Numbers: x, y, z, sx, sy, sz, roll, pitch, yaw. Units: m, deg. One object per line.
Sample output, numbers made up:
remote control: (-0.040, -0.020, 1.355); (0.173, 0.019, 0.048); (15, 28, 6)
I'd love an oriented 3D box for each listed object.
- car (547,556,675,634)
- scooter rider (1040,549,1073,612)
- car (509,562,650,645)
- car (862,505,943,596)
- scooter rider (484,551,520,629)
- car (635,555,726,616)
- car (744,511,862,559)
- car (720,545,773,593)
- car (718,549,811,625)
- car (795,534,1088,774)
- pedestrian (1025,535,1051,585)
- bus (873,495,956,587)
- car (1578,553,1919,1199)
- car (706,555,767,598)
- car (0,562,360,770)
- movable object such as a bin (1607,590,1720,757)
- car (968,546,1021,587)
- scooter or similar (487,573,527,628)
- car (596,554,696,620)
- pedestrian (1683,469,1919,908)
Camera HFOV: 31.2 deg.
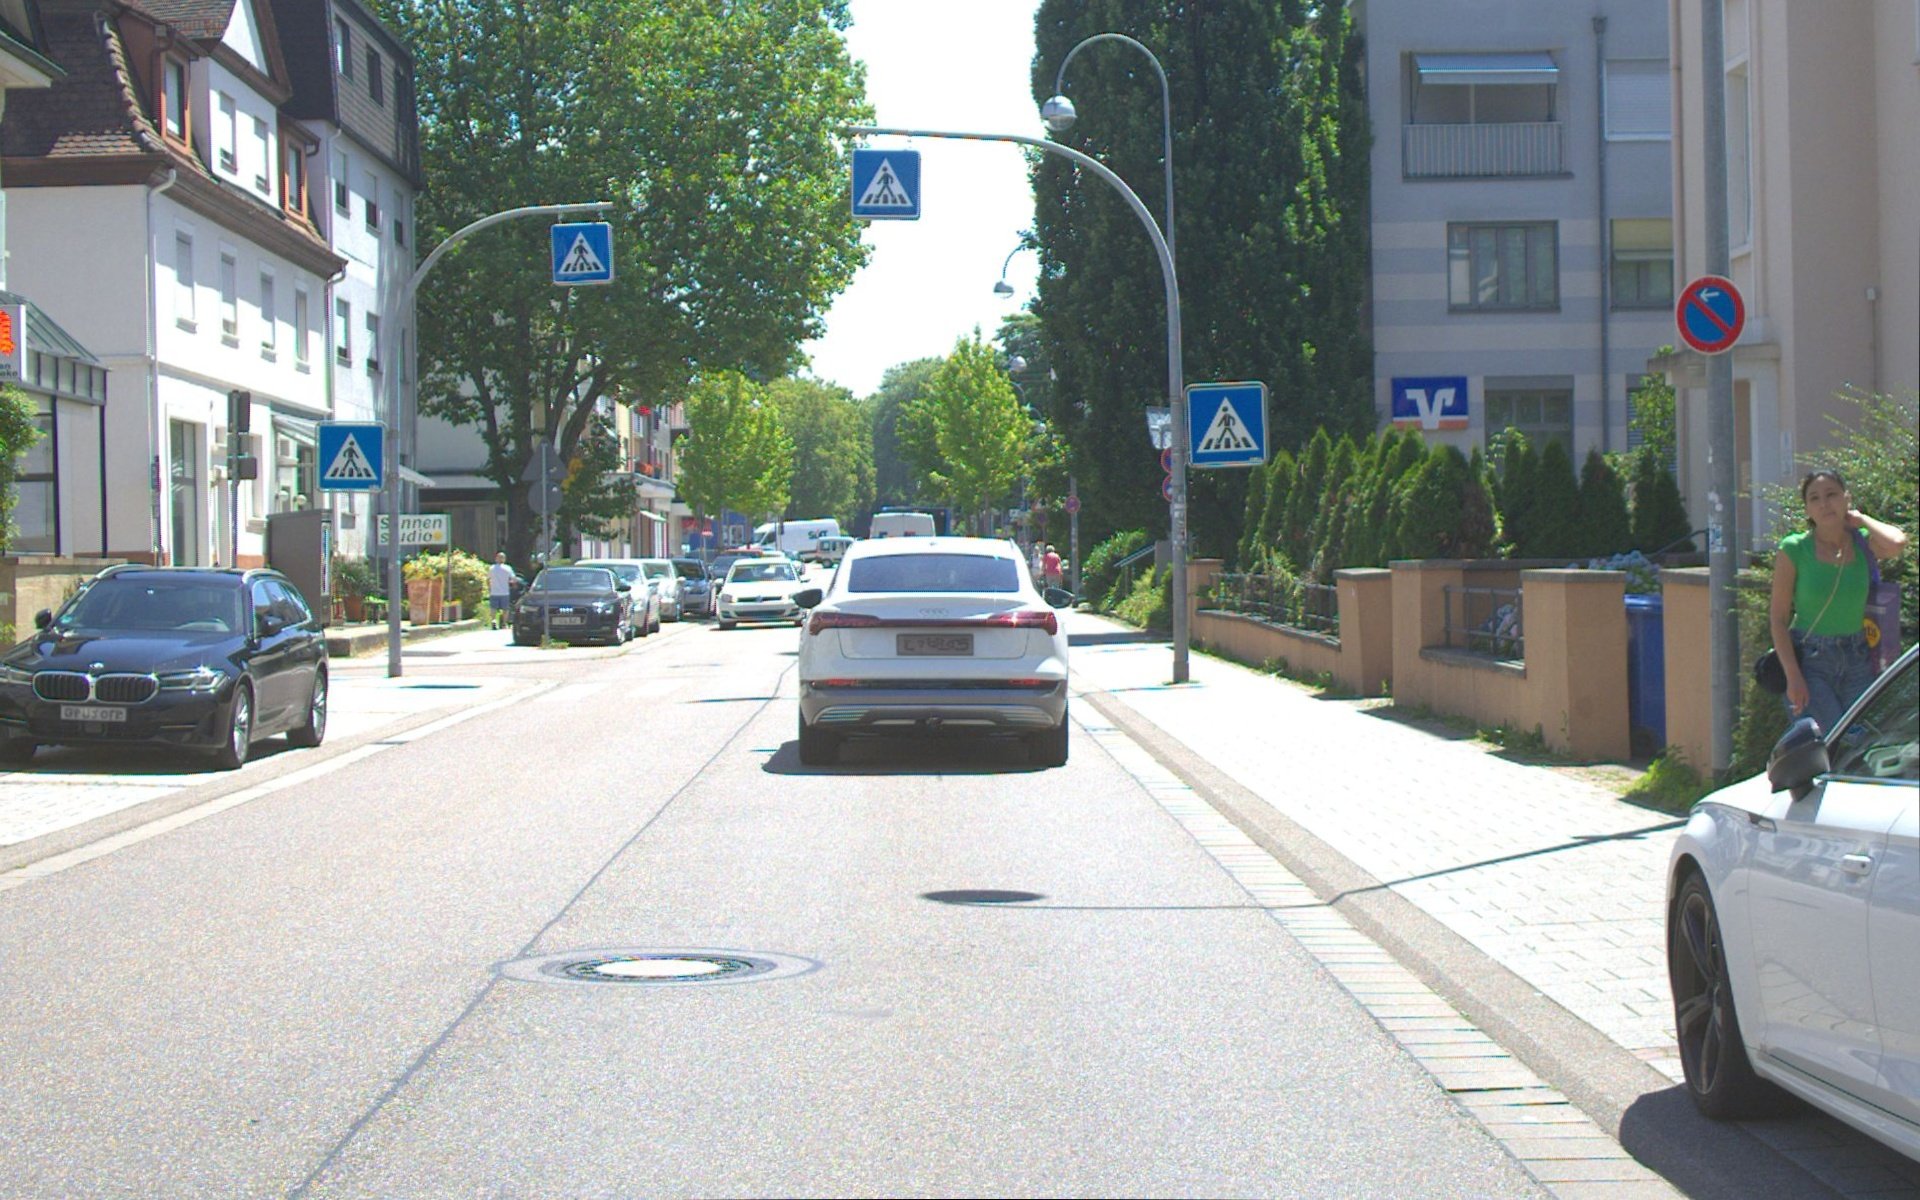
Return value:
car: (-6.784, -0.121, 67.279); (1.981, 1.447, 5.358); (0, 1, 0)
scooter rider: (2.415, -0.500, 86.230); (0.716, 1.543, 0.770); (-2, 1, -3)
car: (-6.724, 0.026, 61.211); (1.942, 1.369, 5.098); (-1, 1, 0)
car: (-1.589, -1.365, 96.001); (2.156, 2.433, 5.283); (1, 1, -1)
scooter rider: (-9.348, -0.214, 70.215); (0.588, 1.570, 0.877); (1, 1, 0)
car: (-6.876, -0.385, 84.898); (1.981, 1.447, 5.151); (0, 1, -2)
car: (-9.745, -4.042, 213.945); (7.085, 2.621, 2.043); (-4, 1, -31)
car: (-7.843, -1.162, 126.438); (1.752, 1.696, 4.102); (1, 1, -1)
car: (-4.071, -0.289, 72.003); (1.807, 1.477, 3.870); (-3, 1, -2)
car: (-0.196, 0.335, 25.424); (1.993, 1.627, 4.000); (0, 1, -2)
pedestrian: (2.578, -1.321, 114.211); (0.700, 1.621, 0.784); (-4, 0, -2)
bus: (-1.622, -2.127, 125.733); (2.661, 3.210, 7.301); (1, 1, 2)
car: (2.814, 0.632, 7.503); (1.915, 1.464, 4.881); (-2, 1, -1)
car: (-7.782, -0.845, 119.967); (1.896, 1.412, 5.048); (1, 1, -1)
car: (-6.214, 0.449, 27.478); (1.916, 1.447, 5.149); (2, 1, 0)
movable object such as a bin: (4.785, 0.494, 23.415); (0.624, 1.096, 0.632); (-2, 1, 2)
car: (1.278, -1.246, 127.211); (1.896, 1.433, 4.544); (-1, 1, 1)
scooter or similar: (-9.350, 0.003, 70.917); (0.663, 1.094, 1.028); (1, 1, 1)
car: (-7.180, -0.328, 79.000); (1.981, 1.447, 4.868); (0, 1, -2)
pedestrian: (3.542, 0.341, 13.986); (0.679, 1.694, 1.050); (-3, 0, -17)
